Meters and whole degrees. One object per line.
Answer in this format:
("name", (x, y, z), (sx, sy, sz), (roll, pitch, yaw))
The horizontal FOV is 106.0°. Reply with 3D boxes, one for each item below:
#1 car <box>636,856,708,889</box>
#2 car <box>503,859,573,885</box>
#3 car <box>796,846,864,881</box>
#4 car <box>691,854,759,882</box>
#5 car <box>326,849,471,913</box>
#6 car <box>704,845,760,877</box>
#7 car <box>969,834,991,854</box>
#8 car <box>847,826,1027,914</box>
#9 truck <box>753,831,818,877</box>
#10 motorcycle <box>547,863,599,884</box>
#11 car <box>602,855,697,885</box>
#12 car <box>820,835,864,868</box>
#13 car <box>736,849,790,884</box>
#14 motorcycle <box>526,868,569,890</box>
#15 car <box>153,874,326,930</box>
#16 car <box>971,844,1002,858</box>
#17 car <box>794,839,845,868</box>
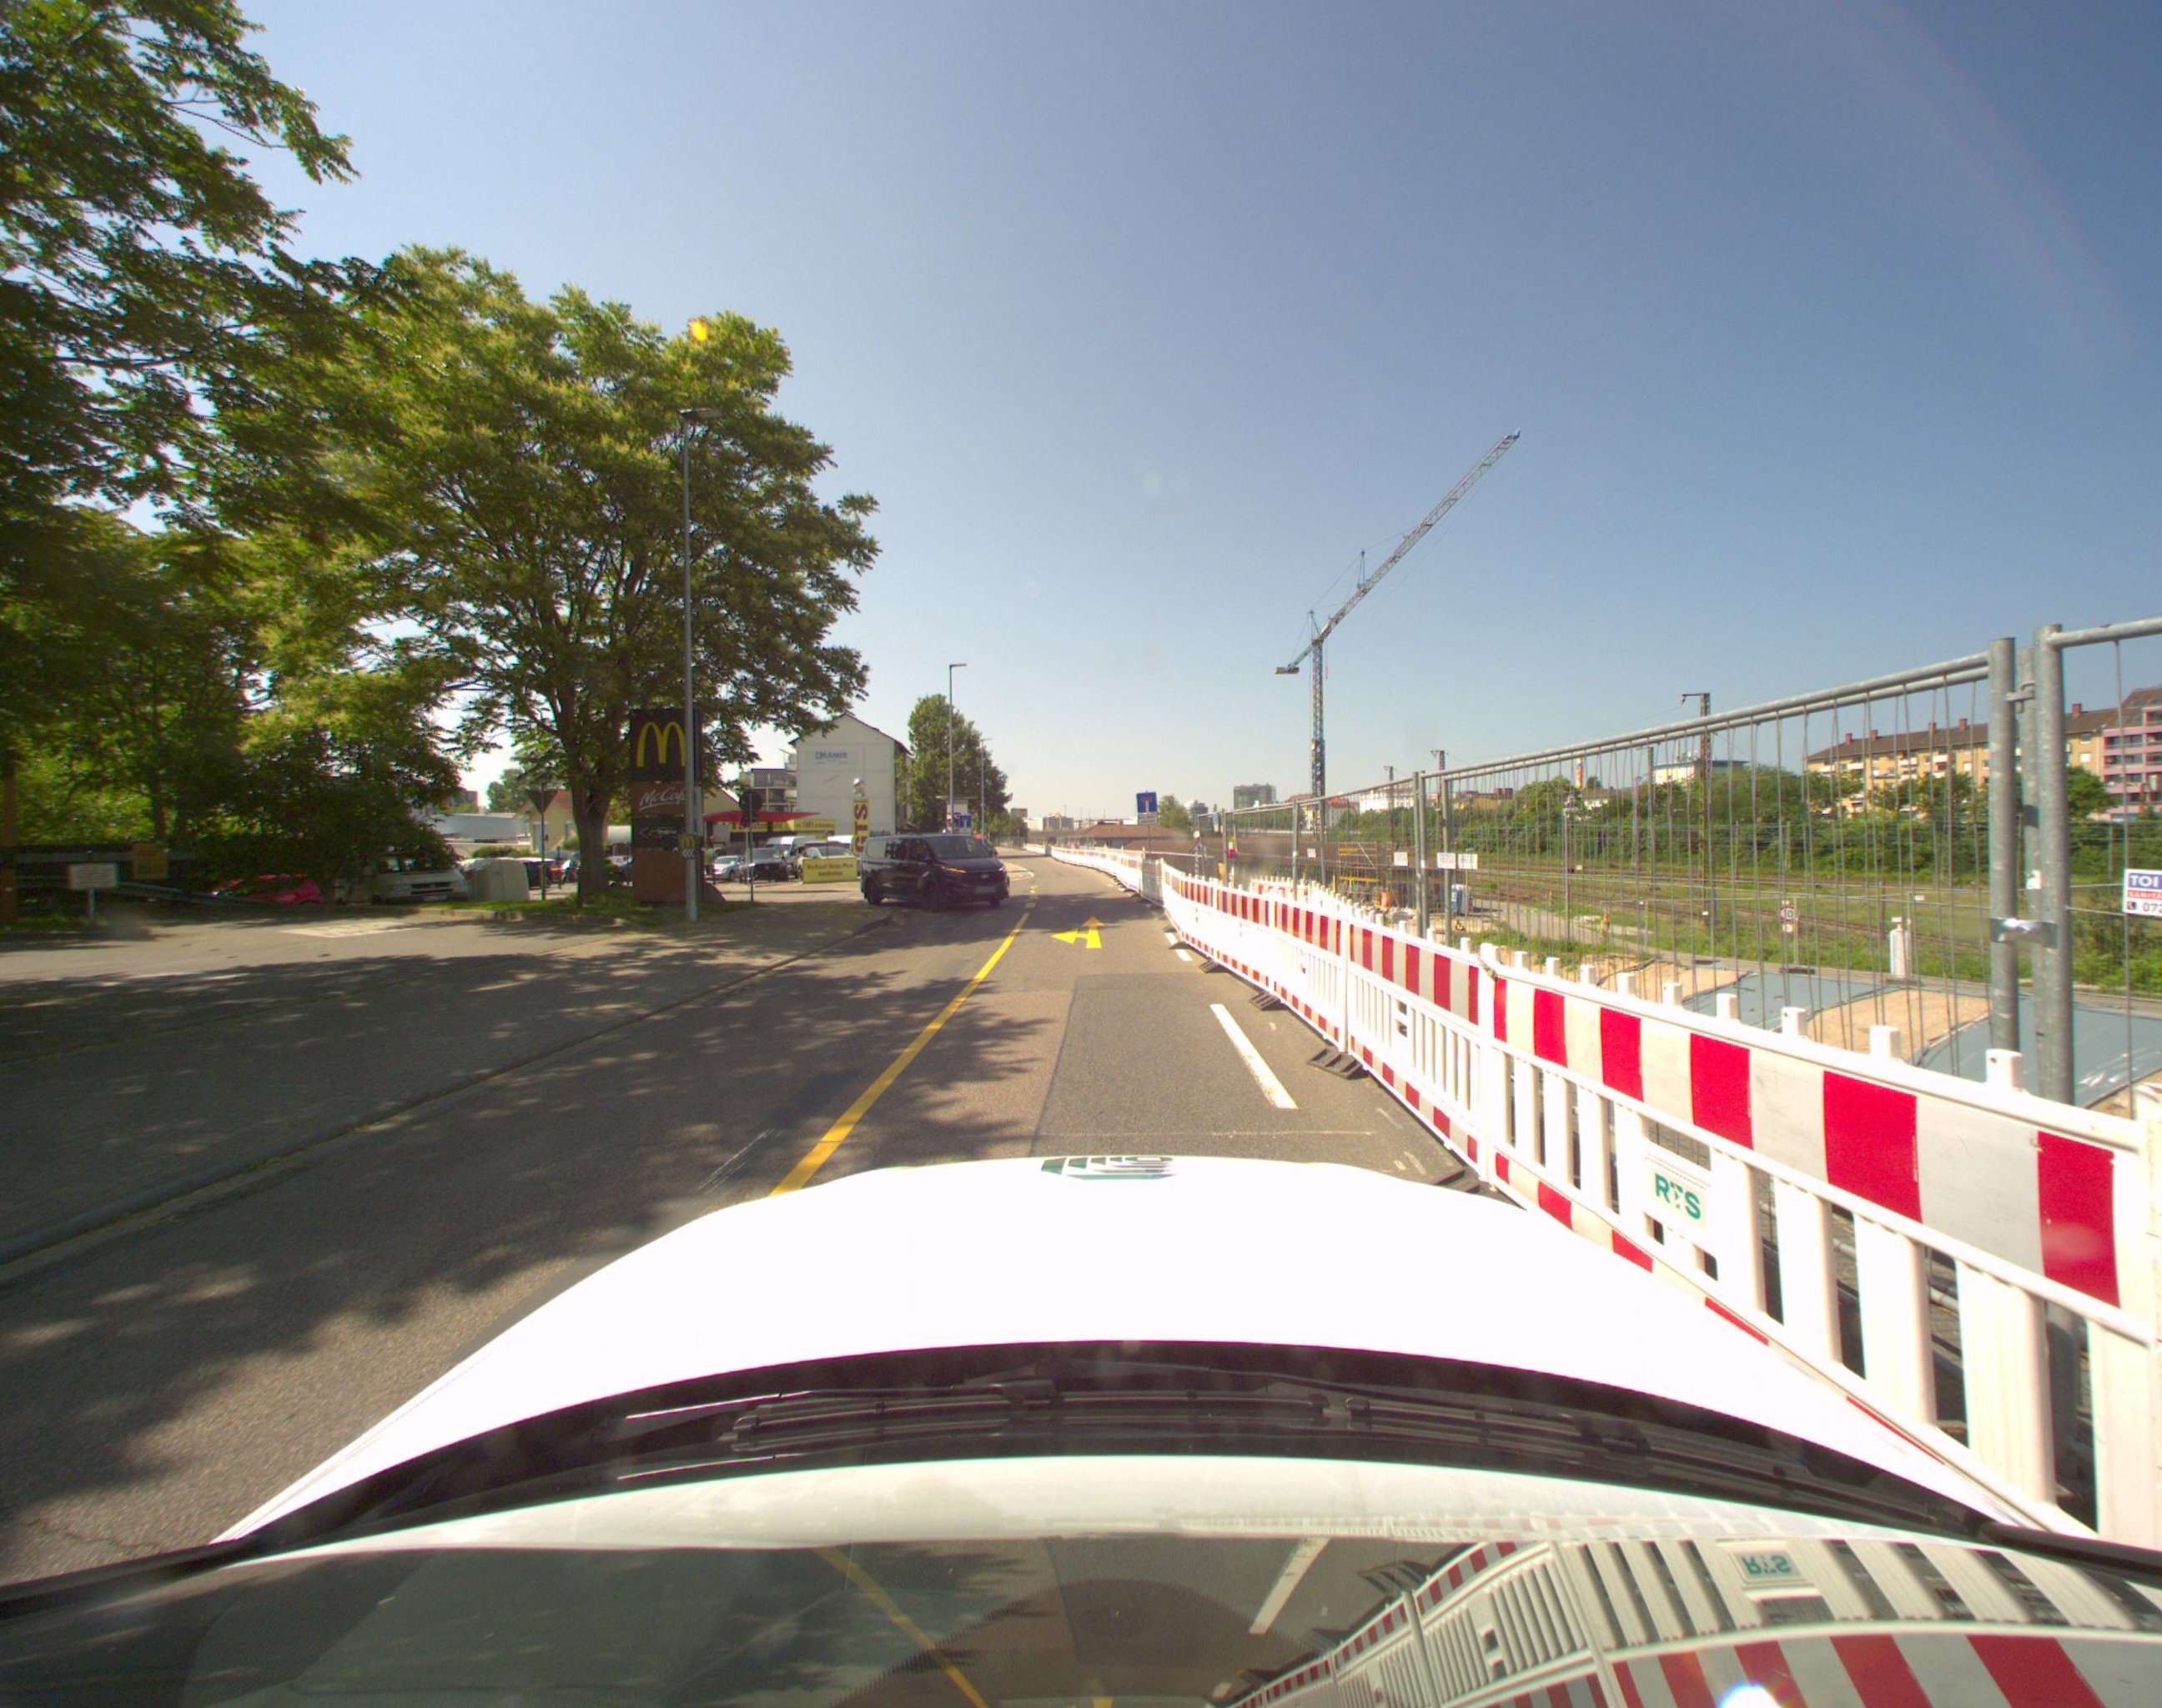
("car", (-19.940, 0.864, 39.873), (1.785, 1.510, 3.993), (0, 0, -5))
("car", (-34.463, 1.119, 51.694), (3.950, 1.585, 2.012), (0, 0, 27))
("car", (-12.793, 0.463, 41.418), (2.010, 1.725, 3.954), (0, 0, -38))
("car", (-19.919, 0.761, 45.768), (1.780, 1.487, 4.005), (0, 0, 5))
("car", (-19.039, 0.658, 22.652), (4.966, 1.583, 1.970), (1, 0, 36))
("car", (-22.949, 0.418, 53.772), (1.989, 2.013, 4.490), (0, 0, -3))
("car", (-13.520, -1.301, 109.000), (2.532, 2.520, 5.112), (0, 0, -3))
("car", (-4.014, 0.401, 21.921), (2.196, 1.967, 5.379), (-5, 2, -41))
("truck", (-19.680, -0.024, 54.597), (2.262, 2.903, 5.941), (0, 0, -1))
("motorcycle", (-31.054, 1.169, 49.847), (0.988, 1.227, 2.731), (0, 0, 18))
("car", (-23.962, 0.857, 45.290), (4.358, 1.585, 1.976), (0, 0, -42))
("car", (-17.018, -0.199, 58.253), (2.132, 2.284, 4.703), (-1, 1, -5))
("car", (-15.436, 0.582, 39.399), (2.057, 1.594, 4.385), (0, 0, -26))
("motorcycle", (-30.390, 1.406, 46.386), (0.779, 1.158, 1.886), (-1, 0, 37))
("car", (-26.027, 1.417, 25.309), (1.468, 1.378, 3.436), (1, 2, 27))
("car", (-11.034, -0.352, 95.184), (3.300, 1.637, 1.705), (0, 0, -45))
("car", (-16.696, -0.045, 52.224), (1.873, 1.738, 4.718), (0, 0, -2))
